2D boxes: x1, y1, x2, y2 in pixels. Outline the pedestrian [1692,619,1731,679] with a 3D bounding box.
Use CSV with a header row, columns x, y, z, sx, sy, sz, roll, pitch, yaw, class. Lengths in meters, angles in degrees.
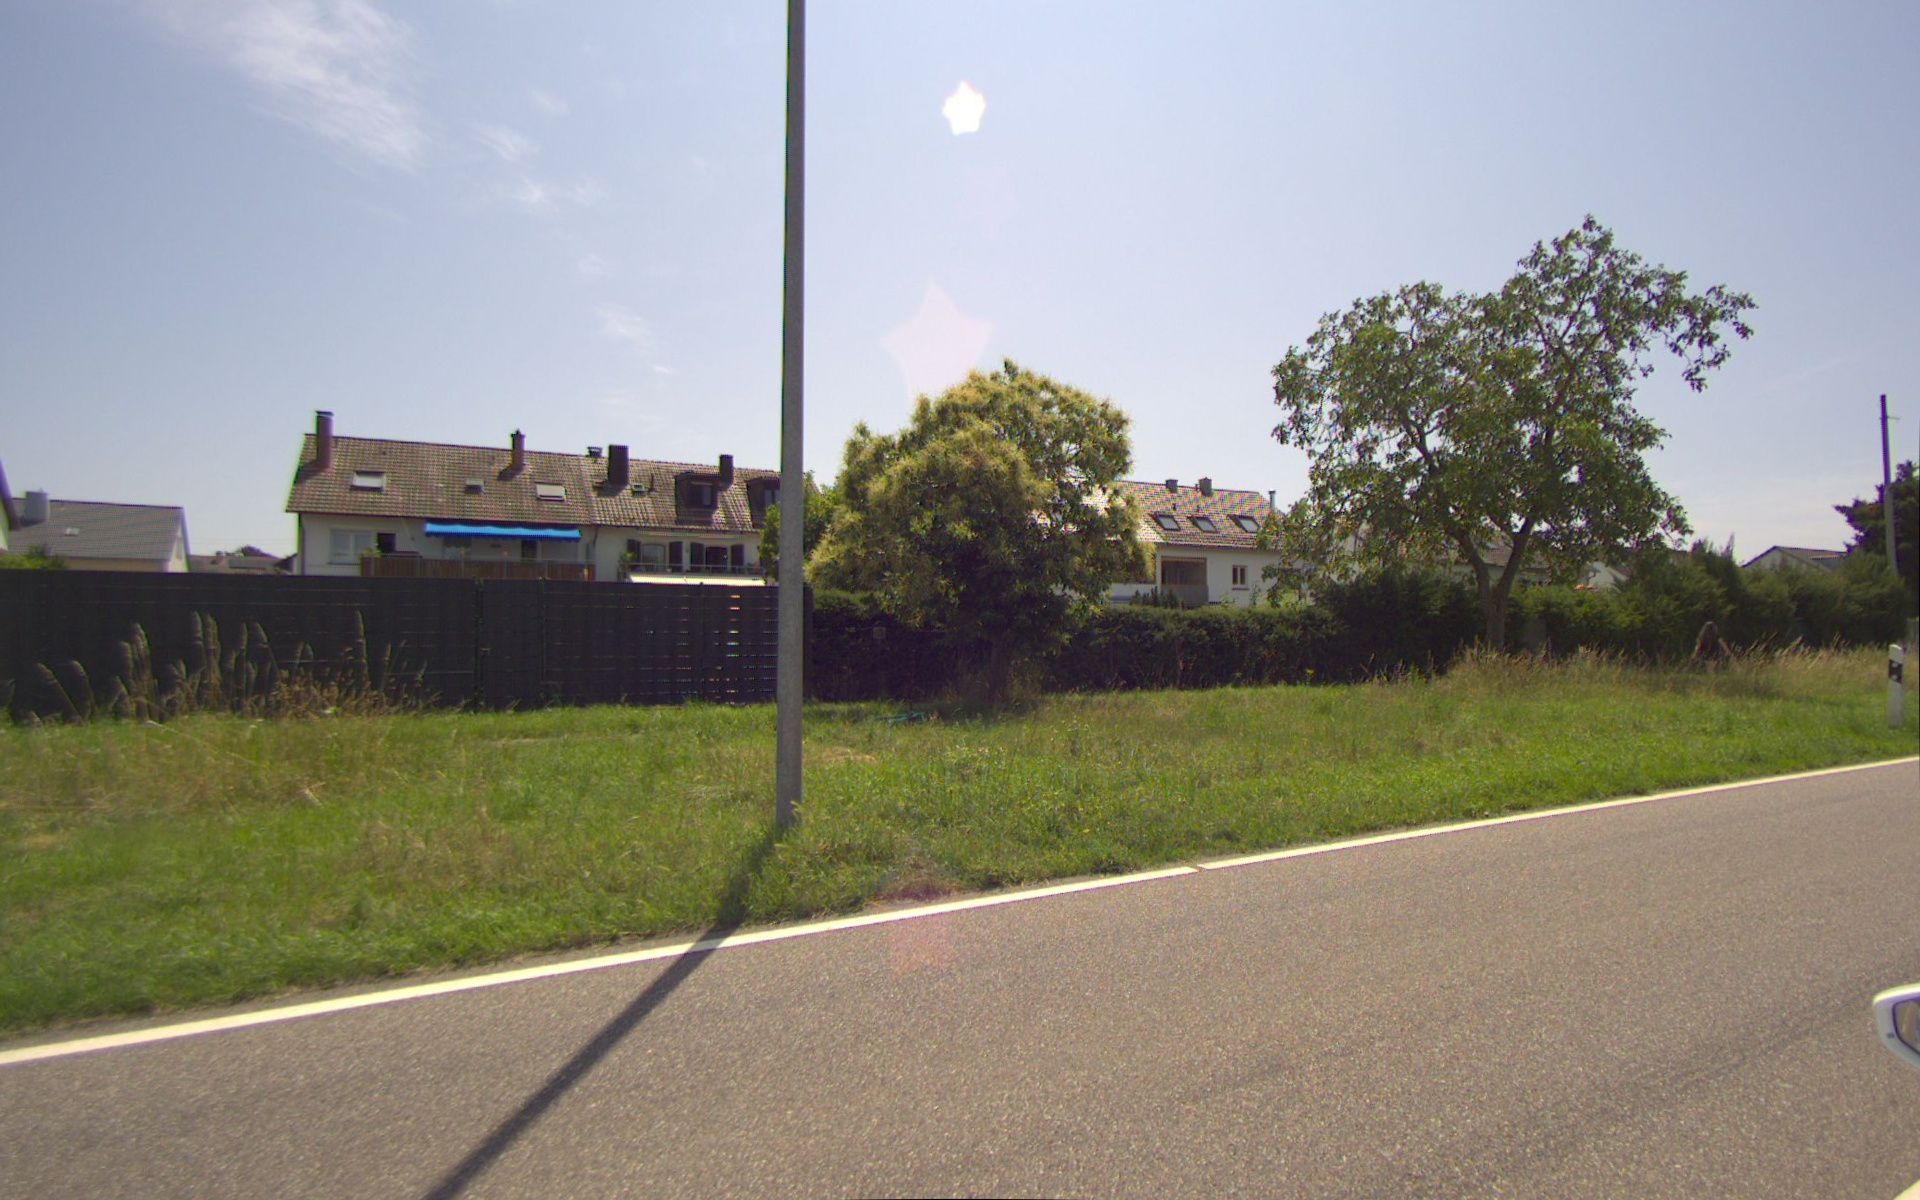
x,y,z,sx,sy,sz,roll,pitch,yaw,class
19.318,1.247,25.825,0.625,1.497,0.606,1,-1,-28,pedestrian
